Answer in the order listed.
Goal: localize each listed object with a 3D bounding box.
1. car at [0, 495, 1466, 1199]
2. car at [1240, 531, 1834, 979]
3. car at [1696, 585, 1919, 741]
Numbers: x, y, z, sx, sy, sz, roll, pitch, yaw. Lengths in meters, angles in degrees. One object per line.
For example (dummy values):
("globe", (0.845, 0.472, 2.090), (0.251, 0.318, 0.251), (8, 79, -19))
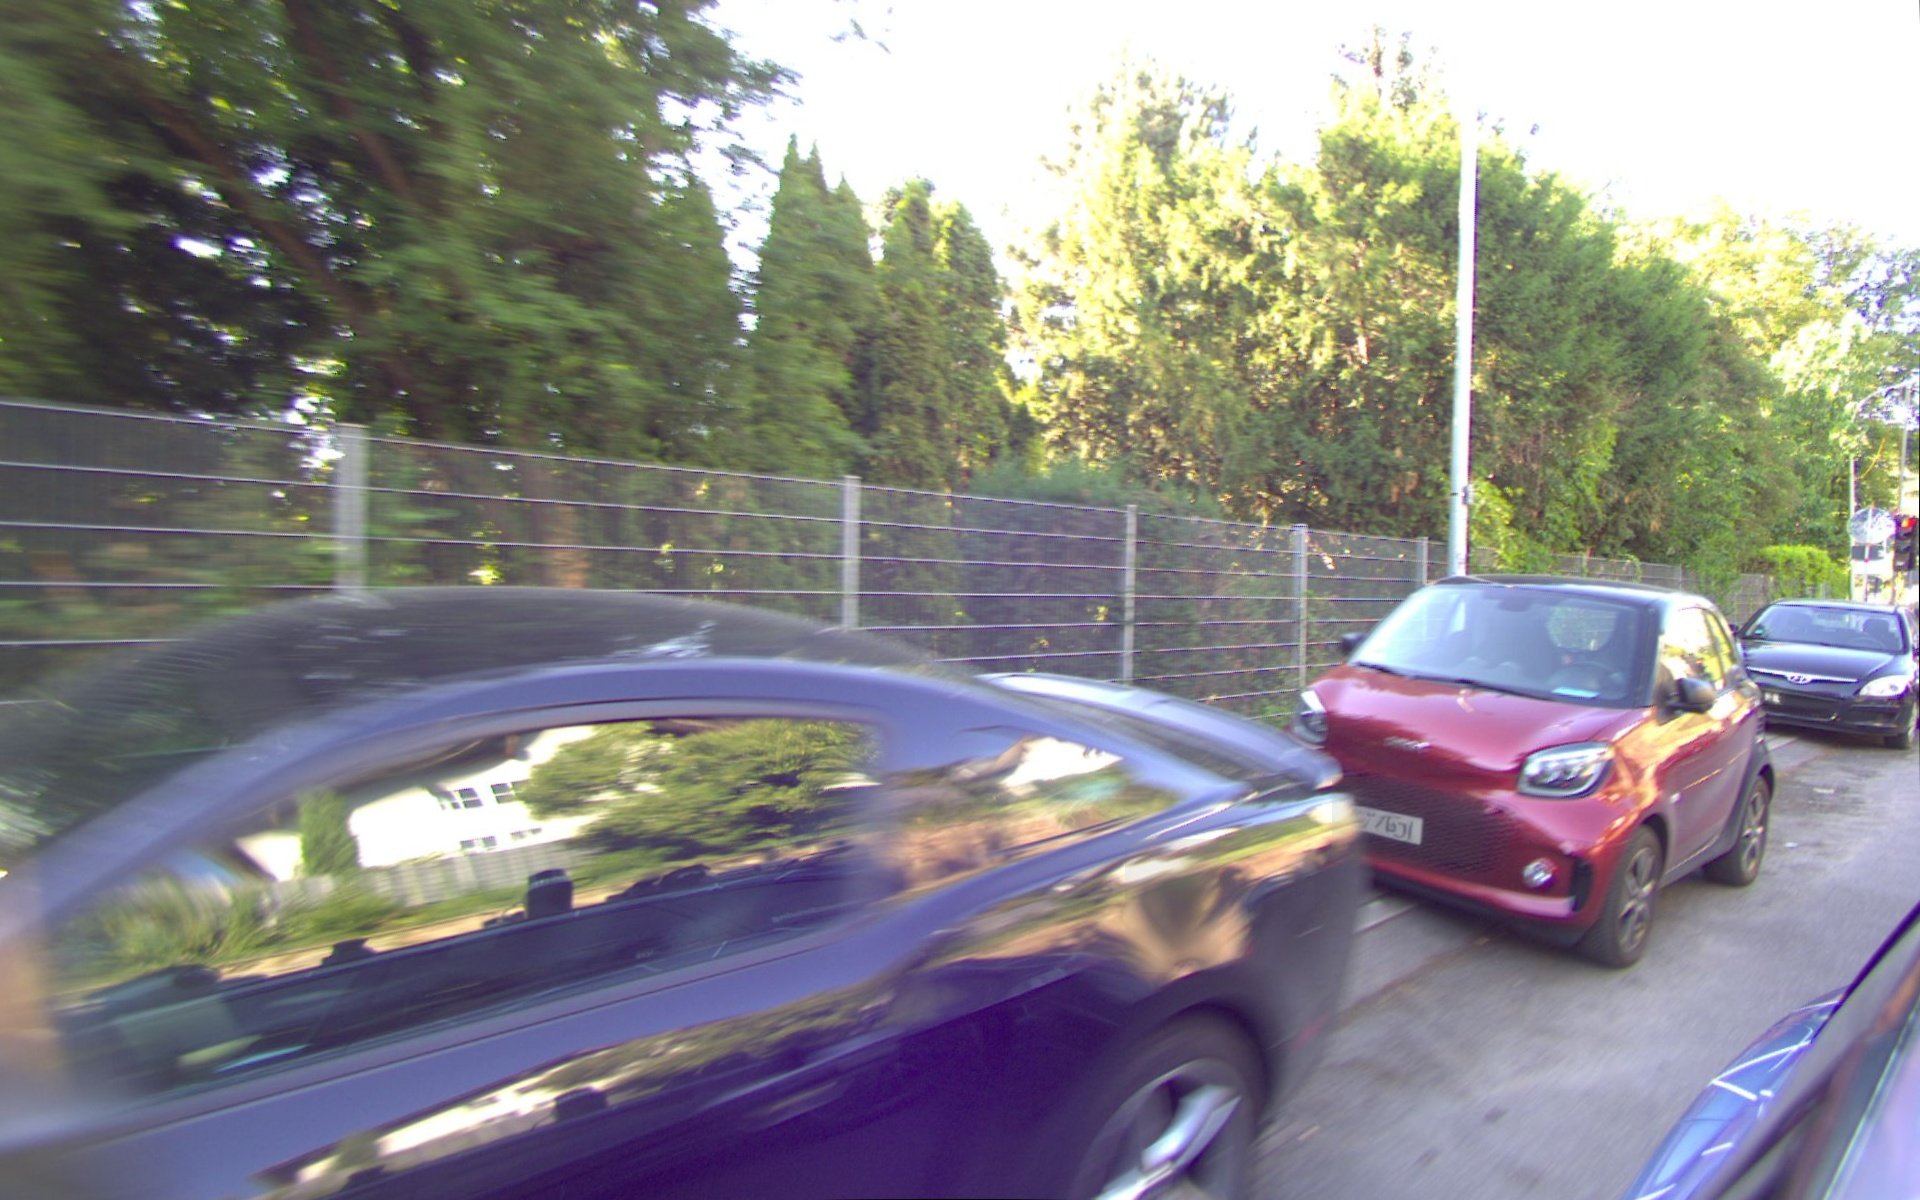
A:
("car", (-1.106, 0.675, 1.709), (4.727, 1.517, 1.714), (0, -1, -39))
("car", (3.052, 0.529, 5.255), (2.821, 1.582, 1.658), (0, 6, -39))
("car", (10.073, 0.592, 11.631), (3.931, 1.458, 1.797), (0, 2, -42))
